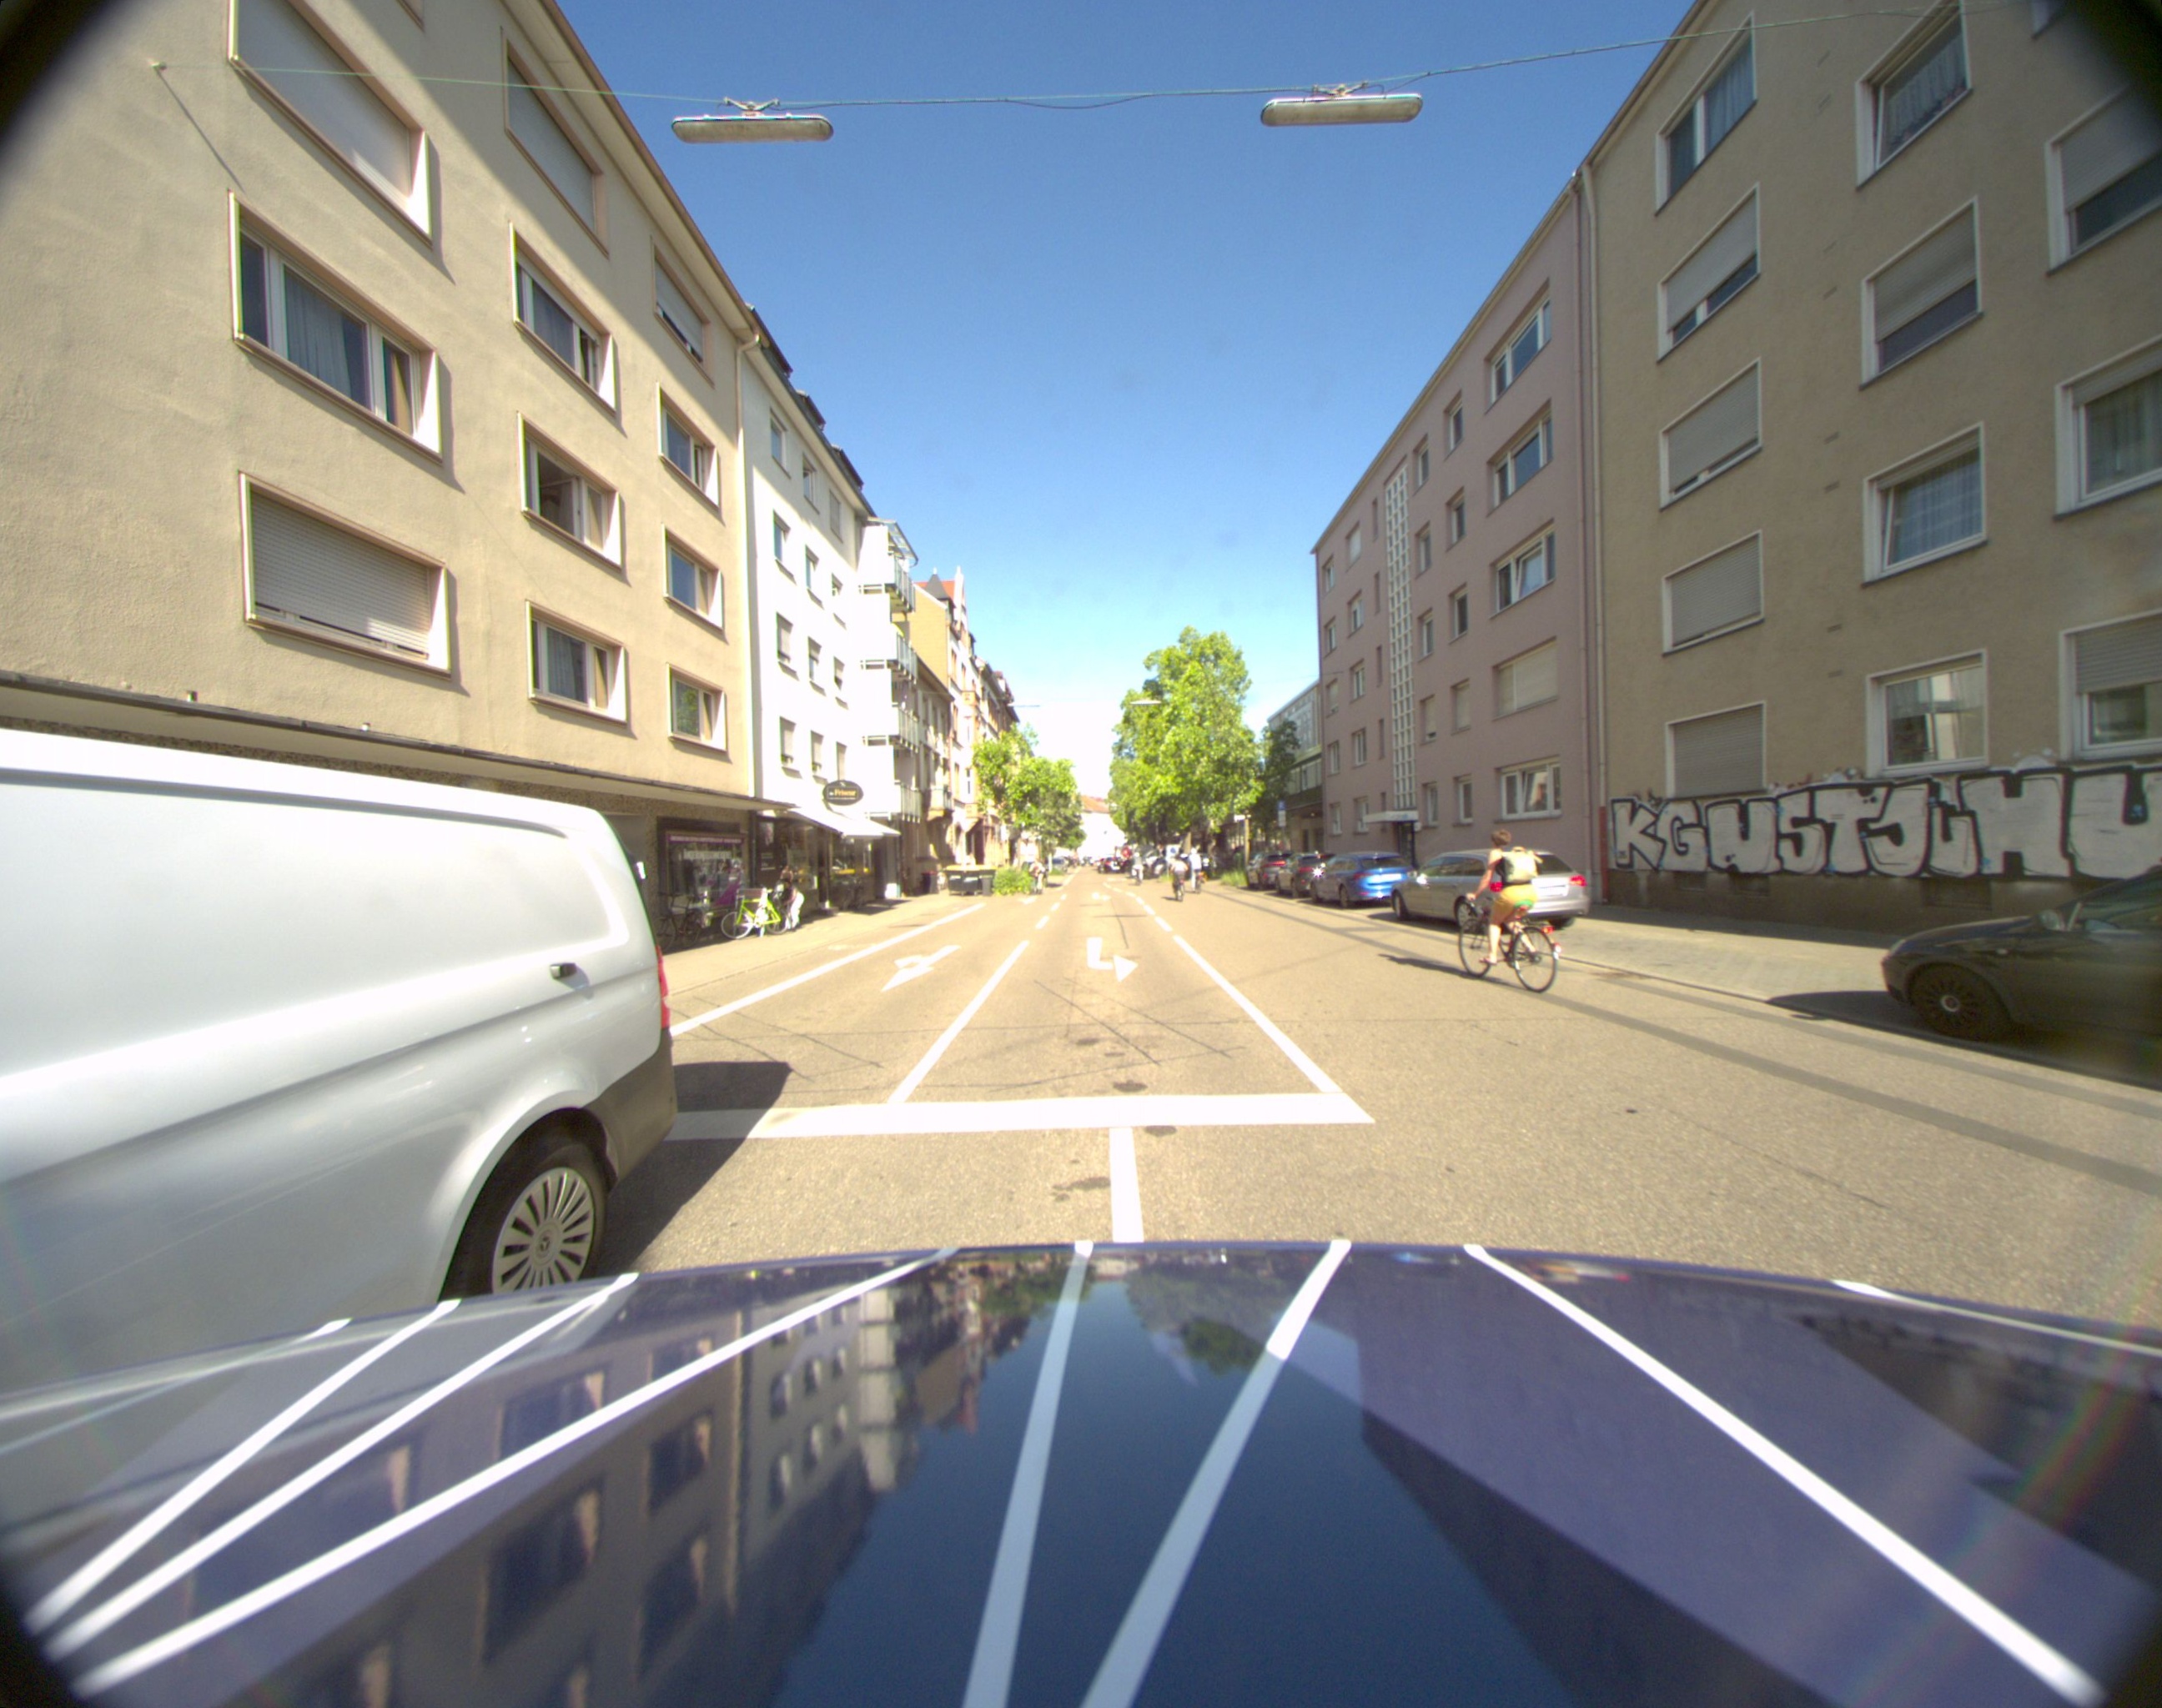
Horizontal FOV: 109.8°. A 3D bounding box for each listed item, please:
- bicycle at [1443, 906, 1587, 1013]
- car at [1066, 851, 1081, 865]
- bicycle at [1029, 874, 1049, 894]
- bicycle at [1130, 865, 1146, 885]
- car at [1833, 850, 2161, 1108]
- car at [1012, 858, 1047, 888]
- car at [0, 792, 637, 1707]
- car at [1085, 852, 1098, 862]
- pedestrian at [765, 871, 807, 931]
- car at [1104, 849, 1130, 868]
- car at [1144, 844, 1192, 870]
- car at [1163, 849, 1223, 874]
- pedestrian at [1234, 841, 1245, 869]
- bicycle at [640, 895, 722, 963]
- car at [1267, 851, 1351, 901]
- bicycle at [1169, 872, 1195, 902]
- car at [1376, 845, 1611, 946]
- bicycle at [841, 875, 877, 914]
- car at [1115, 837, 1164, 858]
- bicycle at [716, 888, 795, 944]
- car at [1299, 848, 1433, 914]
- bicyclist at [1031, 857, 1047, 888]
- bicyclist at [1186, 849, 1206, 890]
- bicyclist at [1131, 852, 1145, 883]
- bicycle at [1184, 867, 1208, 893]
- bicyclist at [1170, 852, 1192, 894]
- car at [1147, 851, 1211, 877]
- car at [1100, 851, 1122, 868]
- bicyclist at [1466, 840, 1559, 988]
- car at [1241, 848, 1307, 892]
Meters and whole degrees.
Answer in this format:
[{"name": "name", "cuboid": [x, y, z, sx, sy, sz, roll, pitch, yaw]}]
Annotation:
[{"name": "bicycle", "cuboid": [4.661, 1.094, 8.306, 0.544, 0.897, 1.826, -2, 0, 1]}, {"name": "car", "cuboid": [-0.884, 0.481, 93.055, 1.627, 1.586, 3.547, -2, 0, 1]}, {"name": "bicycle", "cuboid": [-1.875, 1.341, 34.220, 0.582, 0.801, 1.710, -2, 0, 6]}, {"name": "bicycle", "cuboid": [2.957, 1.076, 39.491, 0.681, 0.946, 1.933, 0, 0, 1]}, {"name": "car", "cuboid": [7.289, 0.751, 4.545, 1.695, 1.440, 3.856, -4, 0, 0]}, {"name": "car", "cuboid": [-2.870, 1.038, 43.003, 1.627, 1.586, 3.547, -2, 0, 1]}, {"name": "car", "cuboid": [-2.750, 0.835, 0.532, 1.973, 1.800, 4.832, -2, 1, 0]}, {"name": "car", "cuboid": [1.433, 0.451, 103.699, 1.627, 1.270, 3.547, -2, 0, 3]}, {"name": "pedestrian", "cuboid": [-7.400, 1.167, 19.083, 0.775, 1.434, 0.625, -2, 1, -4]}, {"name": "car", "cuboid": [2.977, 0.356, 63.522, 1.911, 1.543, 4.000, -2, 0, 1]}, {"name": "car", "cuboid": [7.305, 0.218, 64.054, 3.875, 2.031, 1.913, -2, 1, 3]}, {"name": "car", "cuboid": [7.786, 0.511, 53.170, 3.996, 1.543, 1.913, -2, 0, 3]}, {"name": "pedestrian", "cuboid": [10.374, 0.061, 49.767, 0.623, 1.795, 0.502, -2, 1, 2]}, {"name": "bicycle", "cuboid": [-7.454, 1.369, 14.255, 0.407, 1.078, 1.801, 1, 0, 6]}, {"name": "car", "cuboid": [7.719, 0.673, 26.080, 1.727, 1.459, 4.158, -4, 0, 3]}, {"name": "bicycle", "cuboid": [3.345, 1.084, 25.163, 0.544, 0.897, 1.826, -2, 0, -2]}, {"name": "car", "cuboid": [7.563, 0.662, 14.614, 1.828, 1.494, 4.801, -4, 0, 0]}, {"name": "bicycle", "cuboid": [-7.219, 1.297, 24.732, 0.598, 1.137, 1.774, 1, 0, 1]}, {"name": "car", "cuboid": [7.073, -0.740, 92.002, 5.562, 2.379, 1.976, -2, 1, -10]}, {"name": "bicycle", "cuboid": [-7.295, 1.364, 17.042, 1.497, 1.100, 0.722, -2, 1, -31]}, {"name": "car", "cuboid": [7.716, 0.655, 21.141, 1.828, 1.494, 4.801, -4, 0, 0]}, {"name": "bicyclist", "cuboid": [-1.897, 0.841, 34.164, 0.582, 1.369, 0.665, -2, 1, 6]}, {"name": "bicyclist", "cuboid": [4.557, 0.596, 30.063, 0.681, 1.621, 0.899, 0, 1, 1]}, {"name": "bicyclist", "cuboid": [2.956, 0.689, 39.506, 0.681, 1.567, 0.899, 0, 1, 1]}, {"name": "bicycle", "cuboid": [4.546, 1.010, 30.115, 0.681, 0.946, 1.933, 1, 0, 1]}, {"name": "bicyclist", "cuboid": [3.320, 0.620, 25.295, 0.544, 1.383, 0.788, -2, 1, -2]}, {"name": "car", "cuboid": [6.402, 0.618, 49.968, 3.996, 1.543, 1.913, -2, 0, 3]}, {"name": "car", "cuboid": [2.854, 0.483, 72.490, 1.911, 1.543, 4.000, -2, 0, 1]}, {"name": "bicyclist", "cuboid": [4.641, 0.615, 8.210, 0.544, 1.512, 0.774, -2, 1, 1]}, {"name": "car", "cuboid": [7.879, 0.609, 31.384, 1.727, 1.567, 4.158, -4, 0, 3]}]
